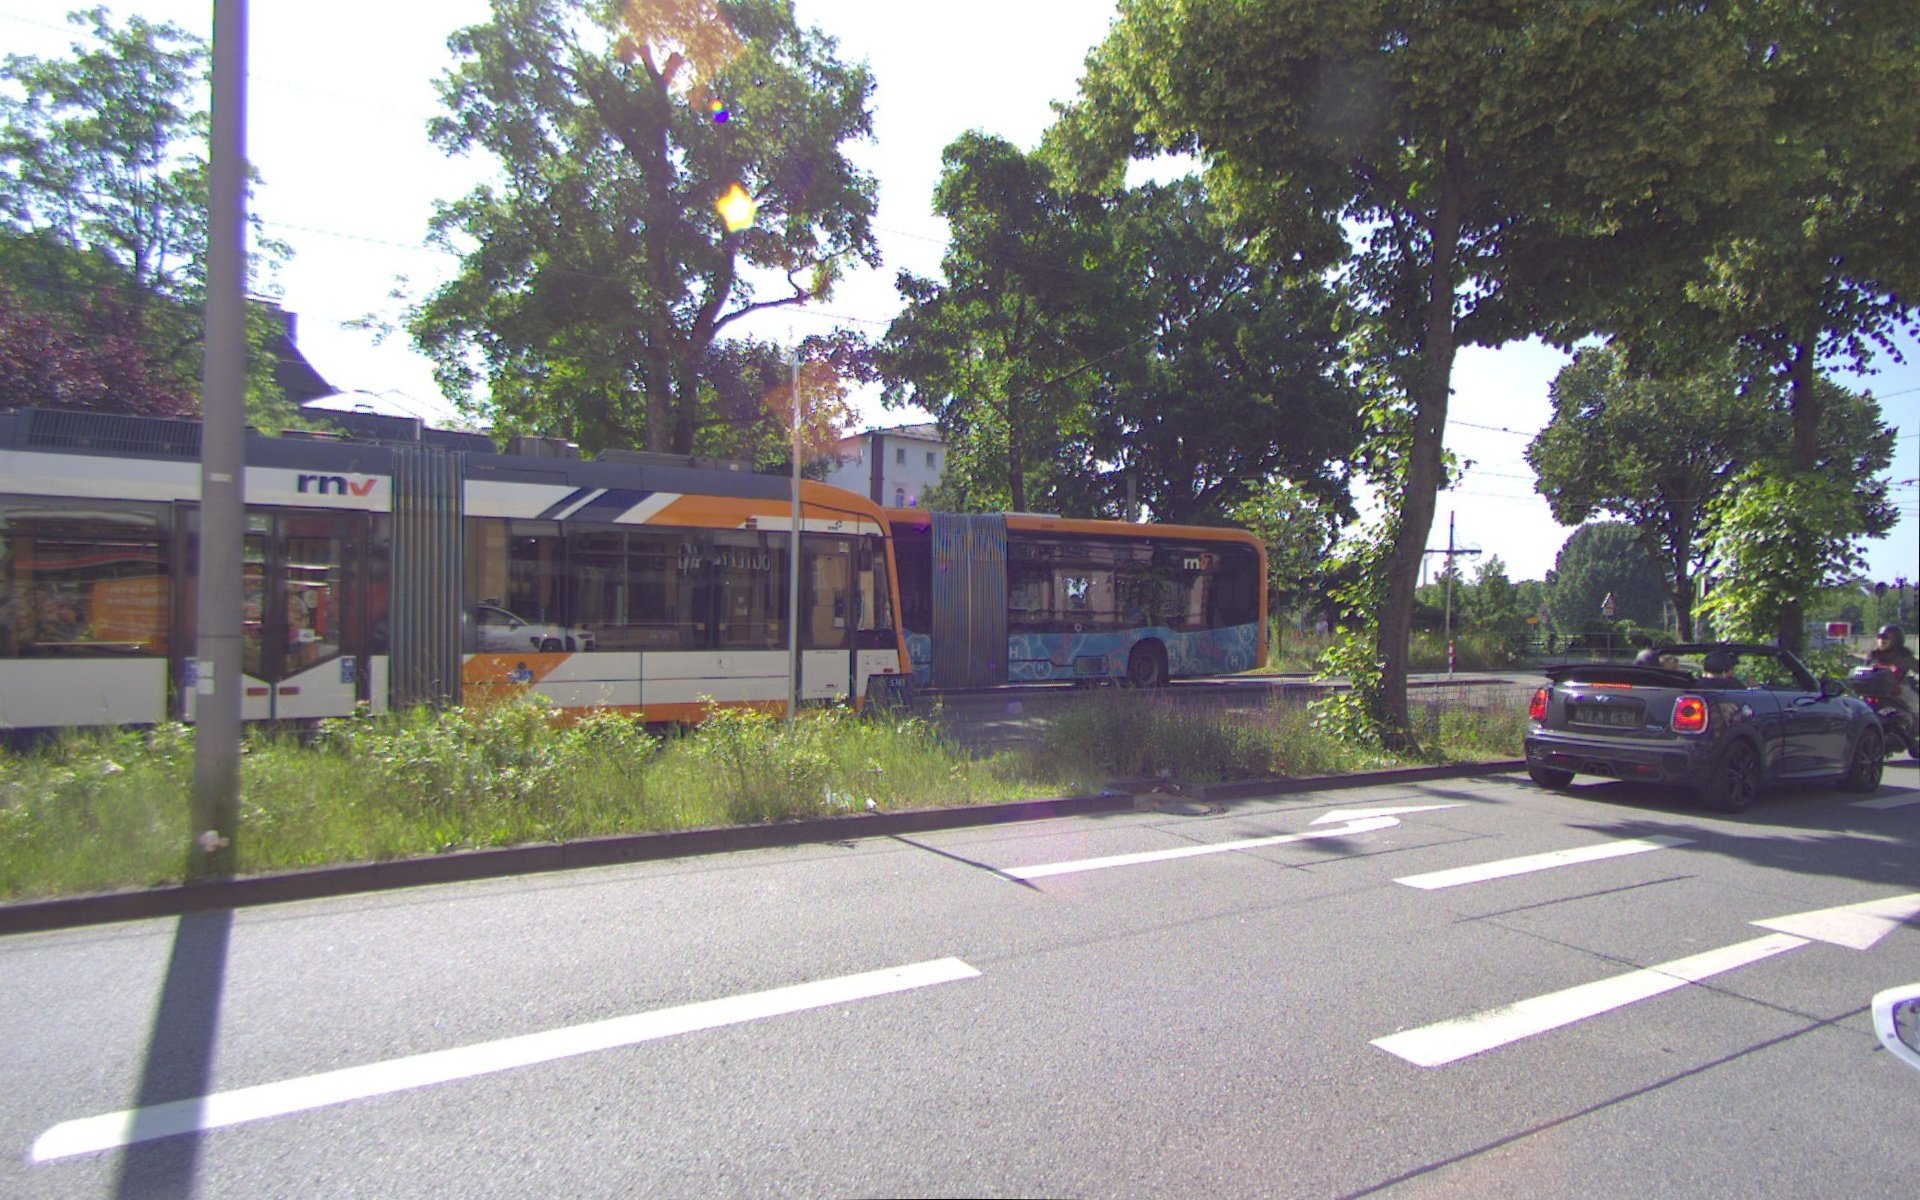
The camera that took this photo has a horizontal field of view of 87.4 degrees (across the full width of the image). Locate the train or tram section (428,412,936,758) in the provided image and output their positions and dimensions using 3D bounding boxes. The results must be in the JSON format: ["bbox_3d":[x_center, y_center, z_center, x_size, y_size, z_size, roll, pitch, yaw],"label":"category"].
[{"bbox_3d":[-3.572,-0.147,13.145,5.944,3.629,2.602,1,2,-29],"label":"train or tram section"}]

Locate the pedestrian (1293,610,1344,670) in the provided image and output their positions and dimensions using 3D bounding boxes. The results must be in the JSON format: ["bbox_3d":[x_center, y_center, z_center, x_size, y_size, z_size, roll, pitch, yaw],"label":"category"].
[{"bbox_3d":[12.011,1.332,33.660,1.237,1.916,0.975,2,1,-26],"label":"pedestrian"}]

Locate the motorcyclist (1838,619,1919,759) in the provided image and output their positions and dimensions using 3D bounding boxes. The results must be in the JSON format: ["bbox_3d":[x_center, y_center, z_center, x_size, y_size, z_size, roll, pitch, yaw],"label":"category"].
[{"bbox_3d":[10.878,1.027,11.787,0.710,1.576,0.685,3,-2,-31],"label":"motorcyclist"}]

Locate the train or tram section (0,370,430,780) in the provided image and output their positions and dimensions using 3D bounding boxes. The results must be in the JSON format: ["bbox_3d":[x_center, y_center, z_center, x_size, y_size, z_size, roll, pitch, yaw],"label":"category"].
[{"bbox_3d":[-9.169,-0.260,10.016,6.814,3.629,2.602,1,2,-29],"label":"train or tram section"}]

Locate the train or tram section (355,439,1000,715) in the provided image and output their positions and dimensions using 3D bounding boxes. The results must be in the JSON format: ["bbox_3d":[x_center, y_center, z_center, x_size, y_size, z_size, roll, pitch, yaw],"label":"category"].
[{"bbox_3d":[-4.306,-0.266,16.897,9.912,3.629,2.809,1,2,-30],"label":"train or tram section"}]

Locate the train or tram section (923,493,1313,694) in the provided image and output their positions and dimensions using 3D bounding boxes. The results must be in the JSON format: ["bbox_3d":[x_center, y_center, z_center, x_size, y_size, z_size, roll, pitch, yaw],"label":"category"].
[{"bbox_3d":[3.500,-0.099,21.367,8.127,3.629,2.809,1,2,-29],"label":"train or tram section"}]

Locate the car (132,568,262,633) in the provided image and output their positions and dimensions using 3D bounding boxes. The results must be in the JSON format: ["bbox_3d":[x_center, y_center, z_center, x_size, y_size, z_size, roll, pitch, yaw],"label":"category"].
[{"bbox_3d":[-41.651,0.041,55.009,5.355,3.360,2.117,2,1,-29],"label":"car"}]

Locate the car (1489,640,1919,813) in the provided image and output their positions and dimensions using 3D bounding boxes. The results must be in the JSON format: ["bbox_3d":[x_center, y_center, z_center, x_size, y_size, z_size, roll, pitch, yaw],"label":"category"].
[{"bbox_3d":[7.159,1.081,9.622,3.950,1.349,1.809,2,-3,-28],"label":"car"}]

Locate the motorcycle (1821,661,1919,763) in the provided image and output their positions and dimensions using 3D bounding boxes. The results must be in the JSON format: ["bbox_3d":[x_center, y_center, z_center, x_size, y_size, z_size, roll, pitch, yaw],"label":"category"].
[{"bbox_3d":[10.971,1.282,11.838,1.888,1.078,0.695,1,-2,-32],"label":"motorcycle"}]

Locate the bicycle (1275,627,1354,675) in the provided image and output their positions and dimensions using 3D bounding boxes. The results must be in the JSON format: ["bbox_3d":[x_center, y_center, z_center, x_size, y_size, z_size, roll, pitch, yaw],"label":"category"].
[{"bbox_3d":[11.424,1.652,32.366,2.468,1.443,0.841,2,1,-26],"label":"bicycle"}]

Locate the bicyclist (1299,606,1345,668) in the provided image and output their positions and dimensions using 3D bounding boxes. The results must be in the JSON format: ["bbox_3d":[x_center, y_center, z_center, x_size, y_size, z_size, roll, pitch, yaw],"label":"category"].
[{"bbox_3d":[11.699,1.182,32.479,1.017,1.925,0.841,2,1,-25],"label":"bicyclist"}]
